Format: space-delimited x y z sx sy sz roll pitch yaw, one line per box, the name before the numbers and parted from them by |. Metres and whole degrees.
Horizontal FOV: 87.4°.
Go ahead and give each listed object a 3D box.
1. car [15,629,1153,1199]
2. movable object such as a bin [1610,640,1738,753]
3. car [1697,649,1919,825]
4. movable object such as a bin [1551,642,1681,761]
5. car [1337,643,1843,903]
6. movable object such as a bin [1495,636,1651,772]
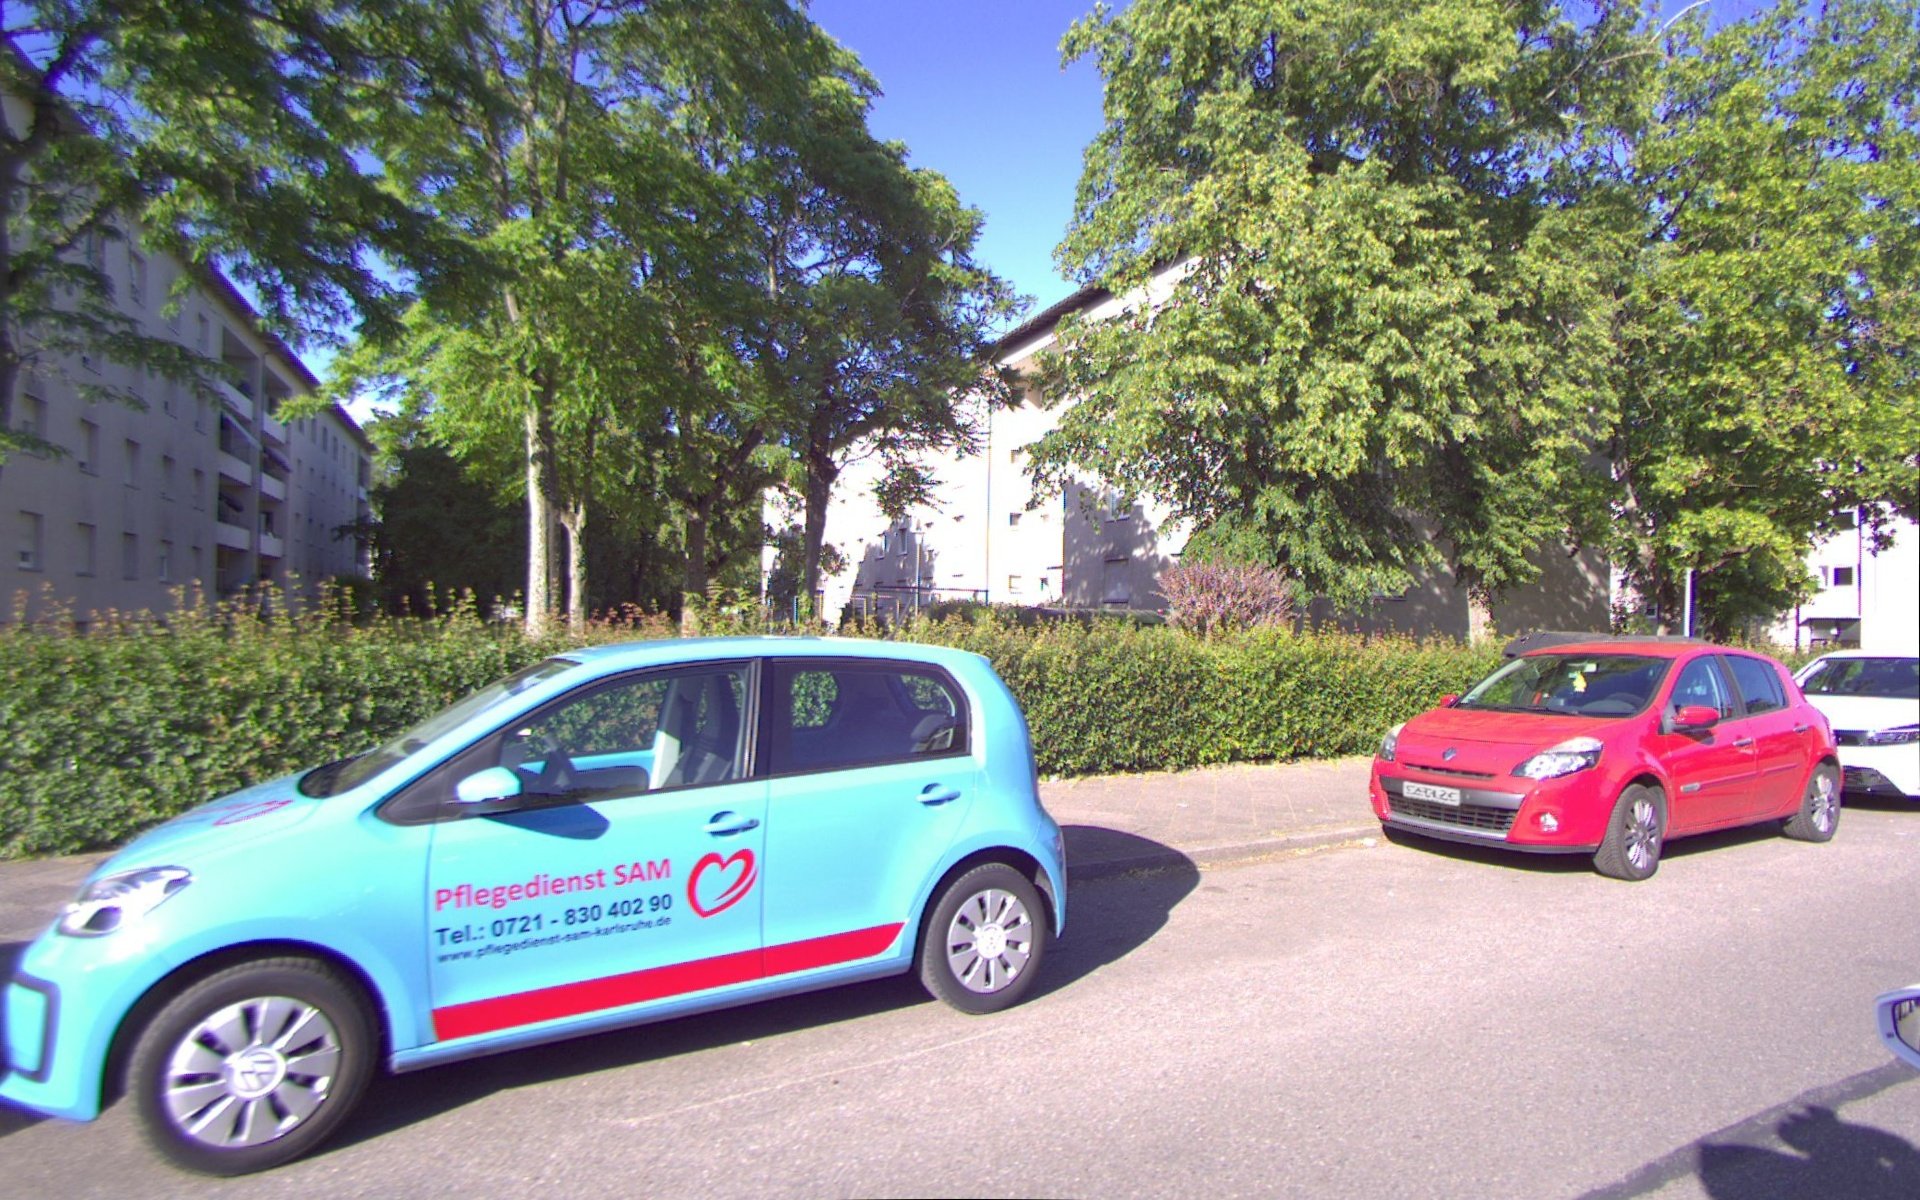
car | -1.149 0.900 4.130 3.634 1.493 1.663 2 -3 -30
movable object such as a bin | 9.809 1.289 13.807 1.299 1.437 0.983 1 -1 -29
car | 9.292 1.224 9.973 3.851 1.440 1.664 2 -2 -28
movable object such as a bin | 8.604 1.283 13.183 1.300 1.437 0.983 1 -1 -31
car | 4.704 1.076 7.440 3.634 1.493 1.663 2 -3 -30
movable object such as a bin | 7.434 1.202 12.196 1.392 1.518 1.105 1 -1 -31
